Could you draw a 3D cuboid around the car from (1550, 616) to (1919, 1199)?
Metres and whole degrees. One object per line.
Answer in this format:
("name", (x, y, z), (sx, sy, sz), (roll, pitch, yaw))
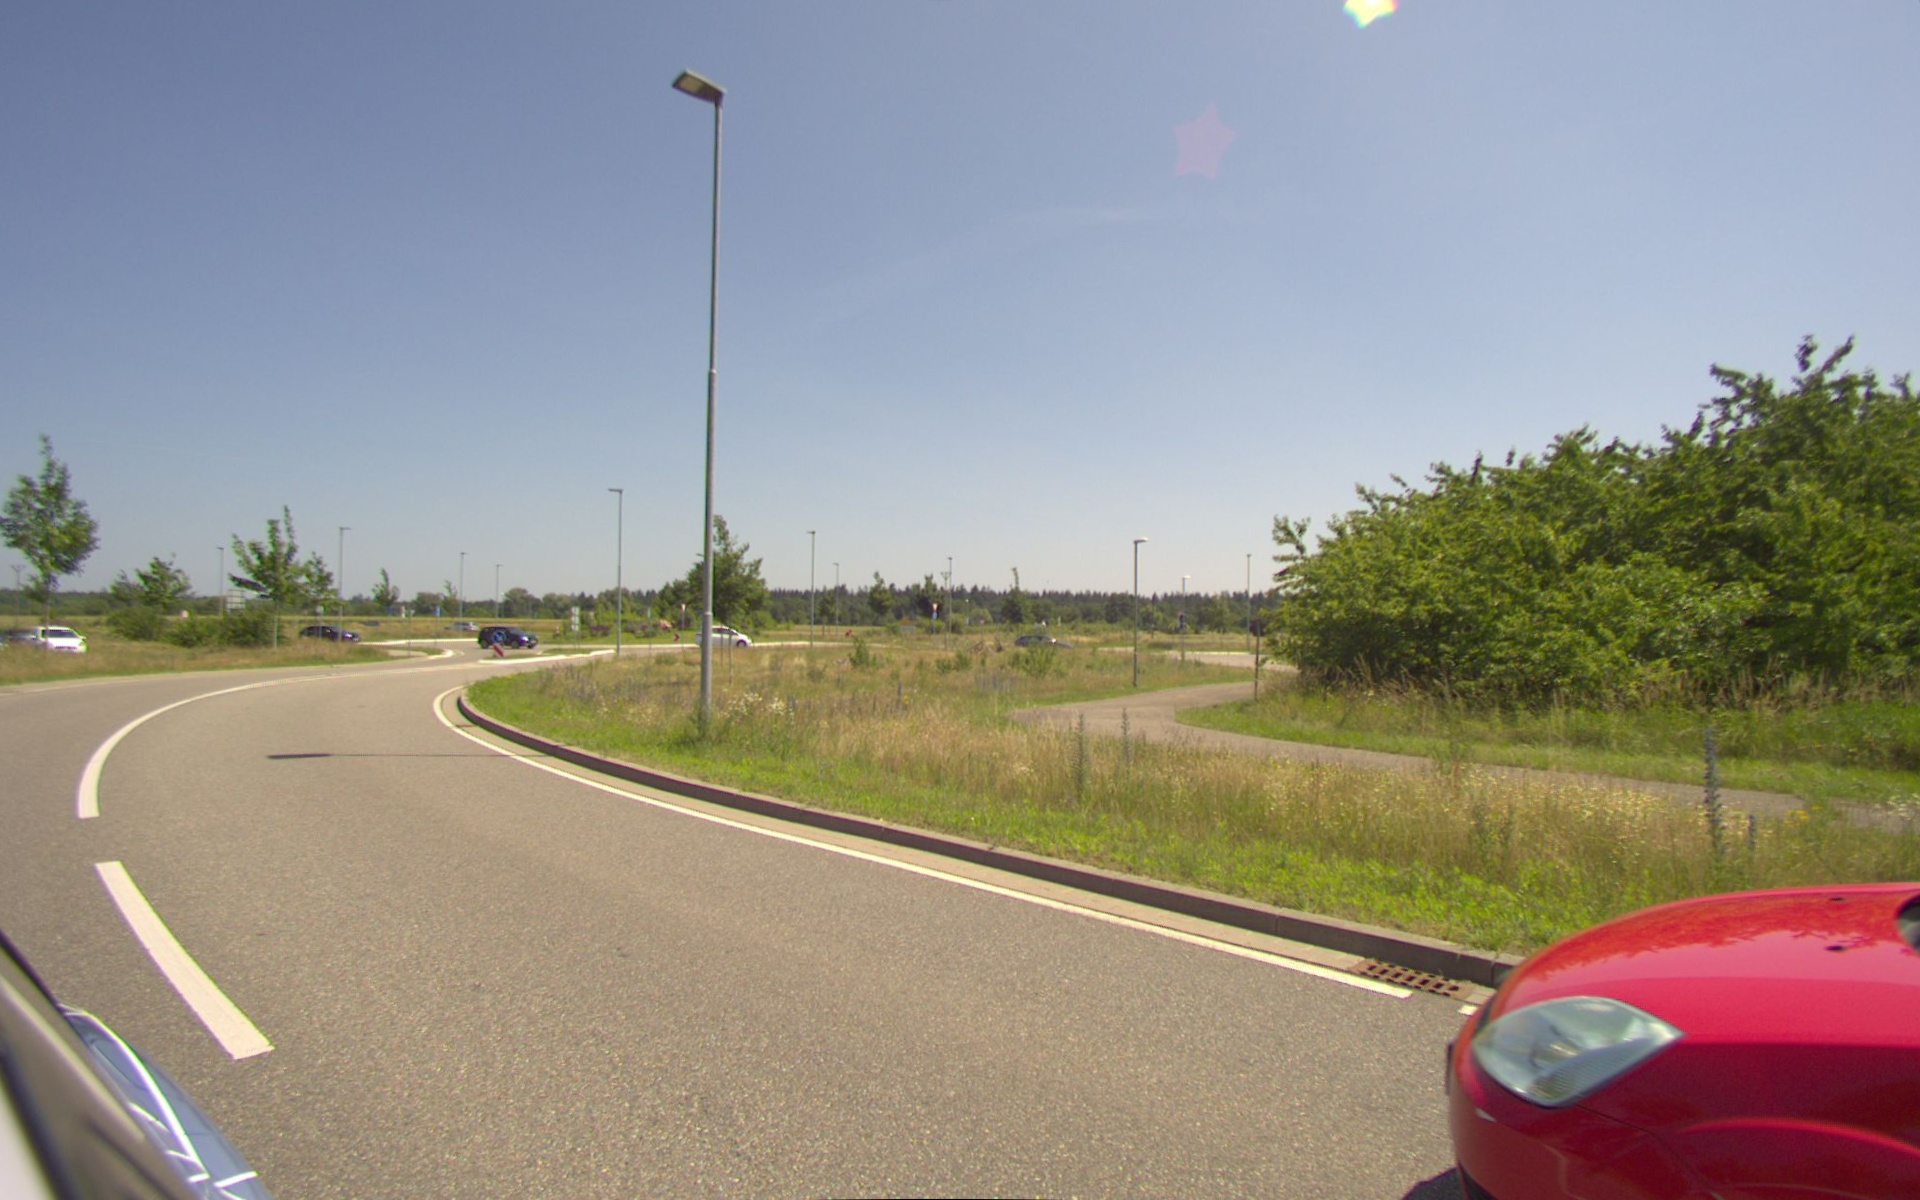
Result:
("car", (2.911, 0.778, 1.067), (3.734, 1.444, 1.638), (-1, -4, 41))

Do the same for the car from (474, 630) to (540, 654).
("car", (-31.981, 2.939, 71.484), (4.114, 1.573, 1.713), (1, -1, 16))

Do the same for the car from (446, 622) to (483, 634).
("car", (-63.049, 3.555, 128.849), (3.968, 1.497, 1.988), (0, -3, 19))

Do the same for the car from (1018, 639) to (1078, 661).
("car", (6.693, 3.815, 77.014), (4.467, 1.445, 1.865), (1, 0, 8))

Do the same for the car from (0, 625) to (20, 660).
("car", (-41.904, 1.833, 43.392), (3.961, 1.454, 1.751), (-3, -4, 39))

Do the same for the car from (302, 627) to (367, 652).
("car", (-48.279, 3.048, 78.111), (4.485, 1.836, 1.858), (1, -1, 19))

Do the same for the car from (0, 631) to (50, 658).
("car", (-48.223, 2.241, 51.551), (3.987, 1.321, 1.728), (0, -3, 32))

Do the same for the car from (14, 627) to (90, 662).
("car", (-40.620, 1.980, 45.250), (3.993, 1.439, 1.726), (-1, -3, 37))

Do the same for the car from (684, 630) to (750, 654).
("car", (-17.499, 3.029, 72.823), (4.443, 1.573, 1.875), (2, -1, -18))
